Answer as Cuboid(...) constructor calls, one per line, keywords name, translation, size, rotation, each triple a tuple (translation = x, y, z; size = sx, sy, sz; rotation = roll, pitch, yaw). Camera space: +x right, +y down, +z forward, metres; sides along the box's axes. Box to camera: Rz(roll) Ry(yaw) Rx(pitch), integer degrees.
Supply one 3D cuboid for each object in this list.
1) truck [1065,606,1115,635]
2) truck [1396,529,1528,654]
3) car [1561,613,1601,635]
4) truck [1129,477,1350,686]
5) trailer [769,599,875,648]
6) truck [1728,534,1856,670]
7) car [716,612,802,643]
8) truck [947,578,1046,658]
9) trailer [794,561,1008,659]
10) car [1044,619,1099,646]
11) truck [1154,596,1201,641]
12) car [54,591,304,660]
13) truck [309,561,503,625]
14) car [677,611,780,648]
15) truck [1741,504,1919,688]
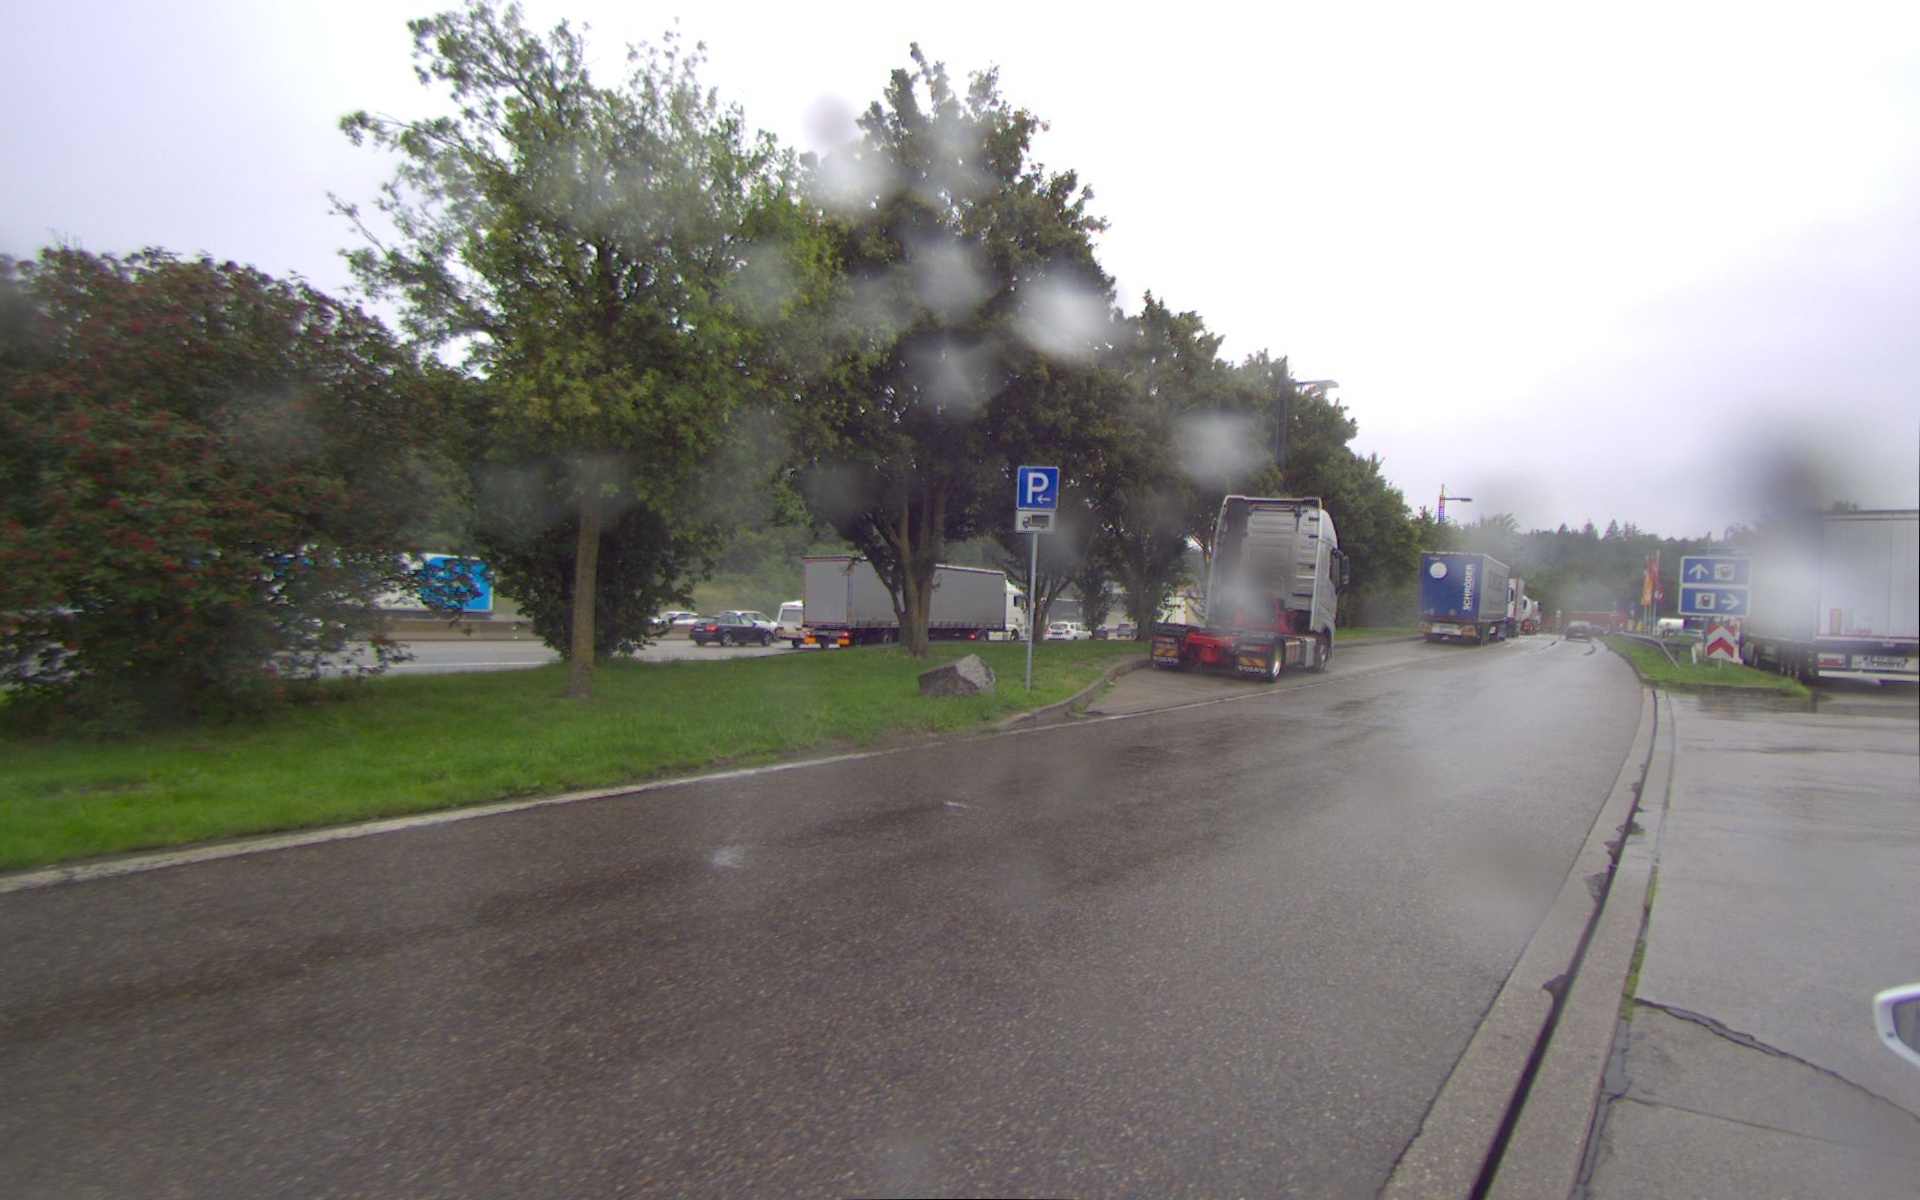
Cuboid(name="truck", translation=(16.821, 2.672, 129.480), size=(2.735, 3.552, 8.658), rotation=(2, 0, 35))
Cuboid(name="truck", translation=(24.785, -0.323, 49.129), size=(4.723, 5.376, 11.045), rotation=(2, 0, 32))
Cuboid(name="car", translation=(45.173, 1.760, 73.022), size=(1.856, 1.481, 3.981), rotation=(3, 1, 40))
Cuboid(name="truck", translation=(6.464, -0.342, 22.491), size=(2.875, 3.956, 6.298), rotation=(2, 0, 34))
Cuboid(name="trailer", translation=(-6.458, 1.157, 47.770), size=(2.099, 2.184, 5.167), rotation=(1, -2, 33))
Cuboid(name="truck", translation=(26.904, 0.084, 32.763), size=(2.338, 3.926, 6.992), rotation=(1, 0, 33))
Cuboid(name="car", translation=(-10.889, 1.507, 54.702), size=(1.966, 1.561, 4.515), rotation=(1, -1, 34))
Cuboid(name="truck", translation=(2.114, 1.051, 55.334), size=(2.832, 4.105, 5.921), rotation=(1, -2, 32))
Cuboid(name="trailer", translation=(-2.243, 0.727, 48.179), size=(2.853, 4.035, 14.093), rotation=(1, -2, 30))
Cuboid(name="car", translation=(6.909, 1.980, 61.768), size=(1.882, 1.571, 3.992), rotation=(1, -1, 30))
Cuboid(name="truck", translation=(18.011, 1.558, 82.993), size=(2.464, 3.408, 4.749), rotation=(6, 1, 25))
Cuboid(name="car", translation=(-19.130, 0.670, 24.842), size=(1.853, 1.500, 4.494), rotation=(2, -2, 31))
Cuboid(name="truck", translation=(-28.495, -0.252, 52.222), size=(2.214, 2.990, 8.928), rotation=(1, -1, 30))
Cuboid(name="car", translation=(-10.800, 1.411, 47.138), size=(1.966, 1.560, 4.516), rotation=(1, -2, 34))
Cuboid(name="truck", translation=(23.313, -0.013, 27.154), size=(2.338, 3.926, 12.421), rotation=(1, 0, 33))
